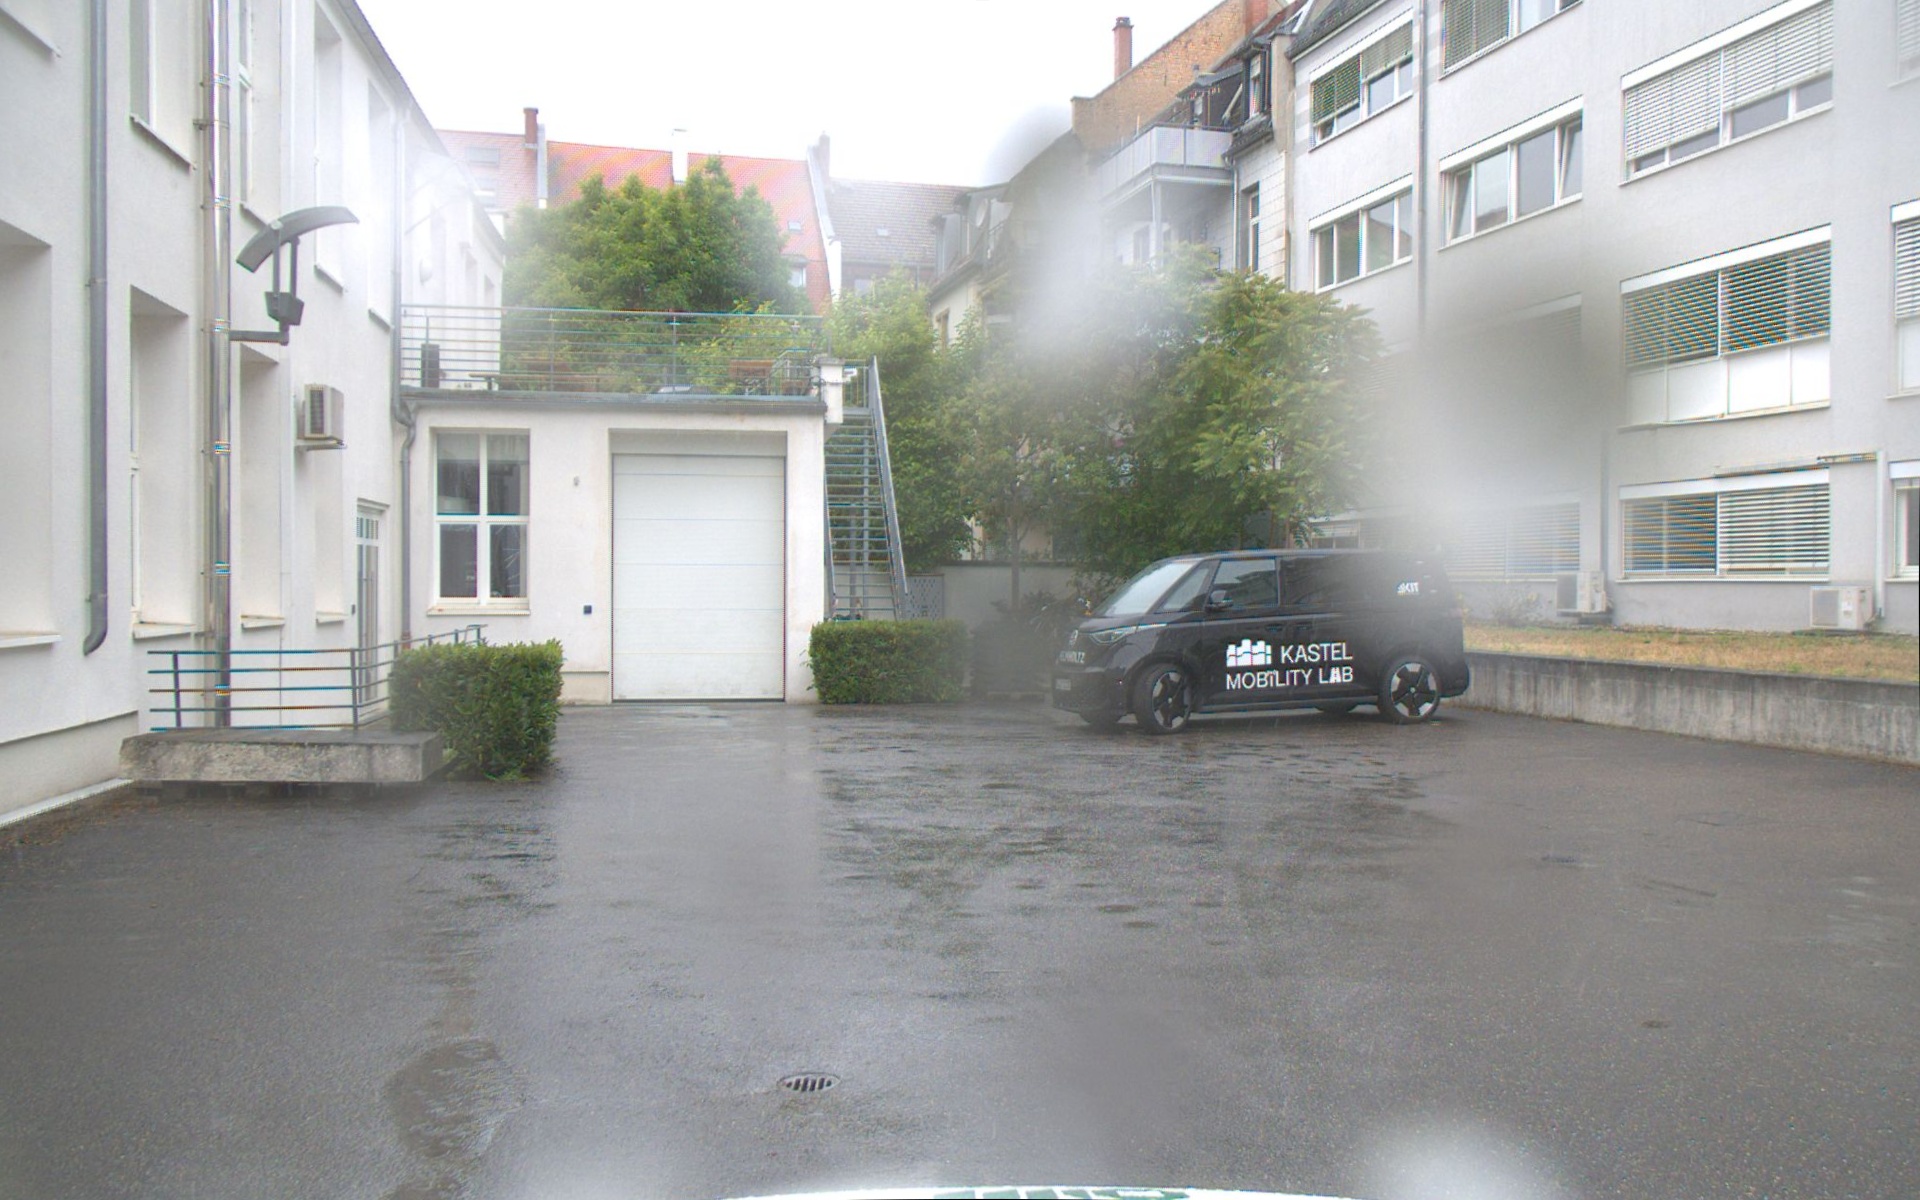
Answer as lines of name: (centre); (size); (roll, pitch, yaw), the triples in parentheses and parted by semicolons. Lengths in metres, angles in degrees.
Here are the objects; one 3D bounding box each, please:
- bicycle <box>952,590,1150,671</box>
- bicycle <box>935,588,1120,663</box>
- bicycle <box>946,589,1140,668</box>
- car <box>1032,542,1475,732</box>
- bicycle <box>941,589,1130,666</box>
bicycle: (1.476, 0.484, 26.776); (3.157, 1.263, 0.629); (0, 0, -12)
bicycle: (1.176, 0.437, 28.775); (3.157, 1.263, 0.629); (0, 0, -12)
bicycle: (1.379, 0.468, 27.468); (3.157, 1.263, 0.629); (0, 0, -12)
car: (3.225, 0.359, 18.411); (4.436, 1.930, 2.037); (0, 0, -17)
bicycle: (1.279, 0.452, 28.132); (3.157, 1.263, 0.629); (0, 0, -12)
